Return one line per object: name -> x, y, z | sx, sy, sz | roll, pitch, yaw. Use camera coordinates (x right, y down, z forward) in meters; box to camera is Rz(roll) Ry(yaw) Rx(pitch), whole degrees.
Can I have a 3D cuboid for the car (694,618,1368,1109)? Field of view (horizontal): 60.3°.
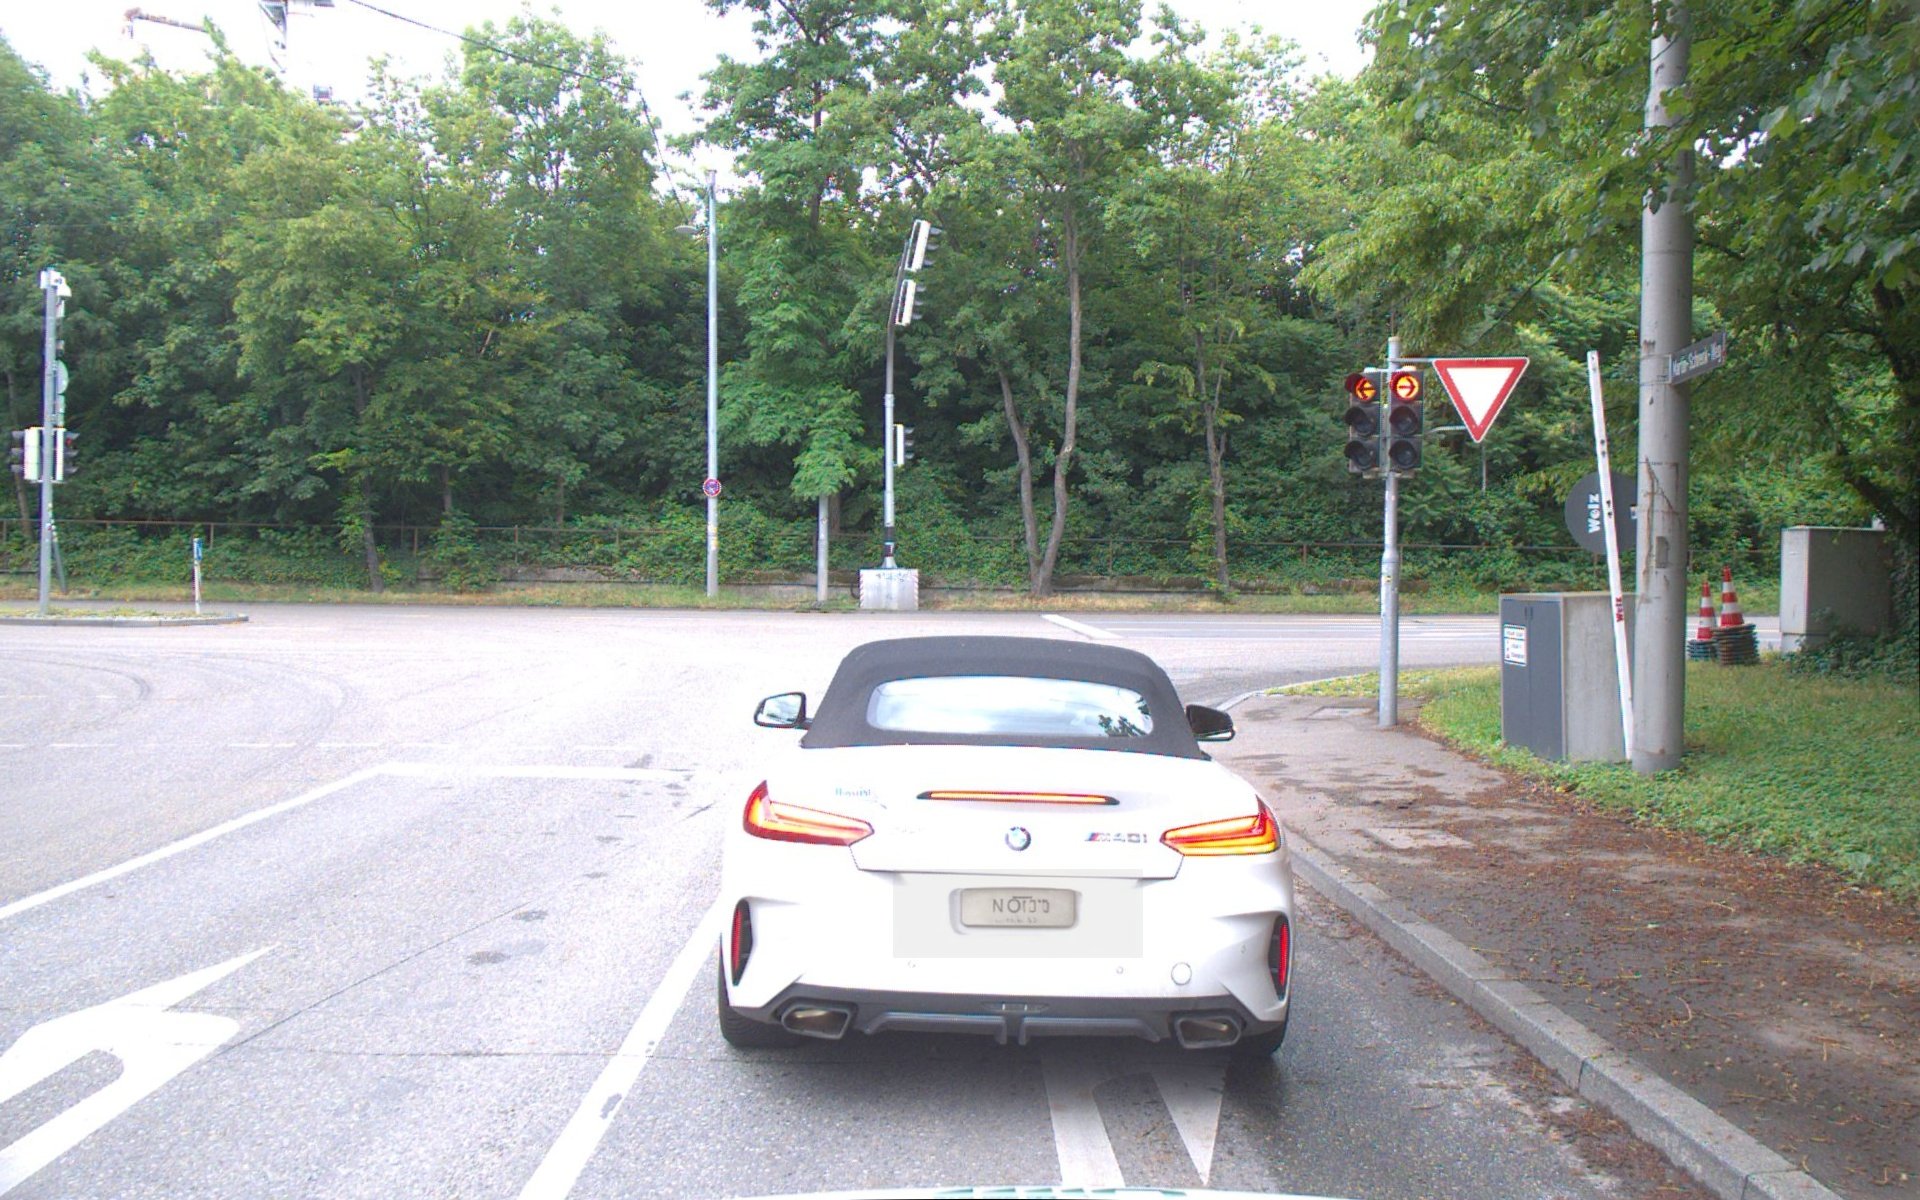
car -> 0.108, 0.754, 6.451 | 1.791, 1.279, 3.997 | 2, -1, -3
